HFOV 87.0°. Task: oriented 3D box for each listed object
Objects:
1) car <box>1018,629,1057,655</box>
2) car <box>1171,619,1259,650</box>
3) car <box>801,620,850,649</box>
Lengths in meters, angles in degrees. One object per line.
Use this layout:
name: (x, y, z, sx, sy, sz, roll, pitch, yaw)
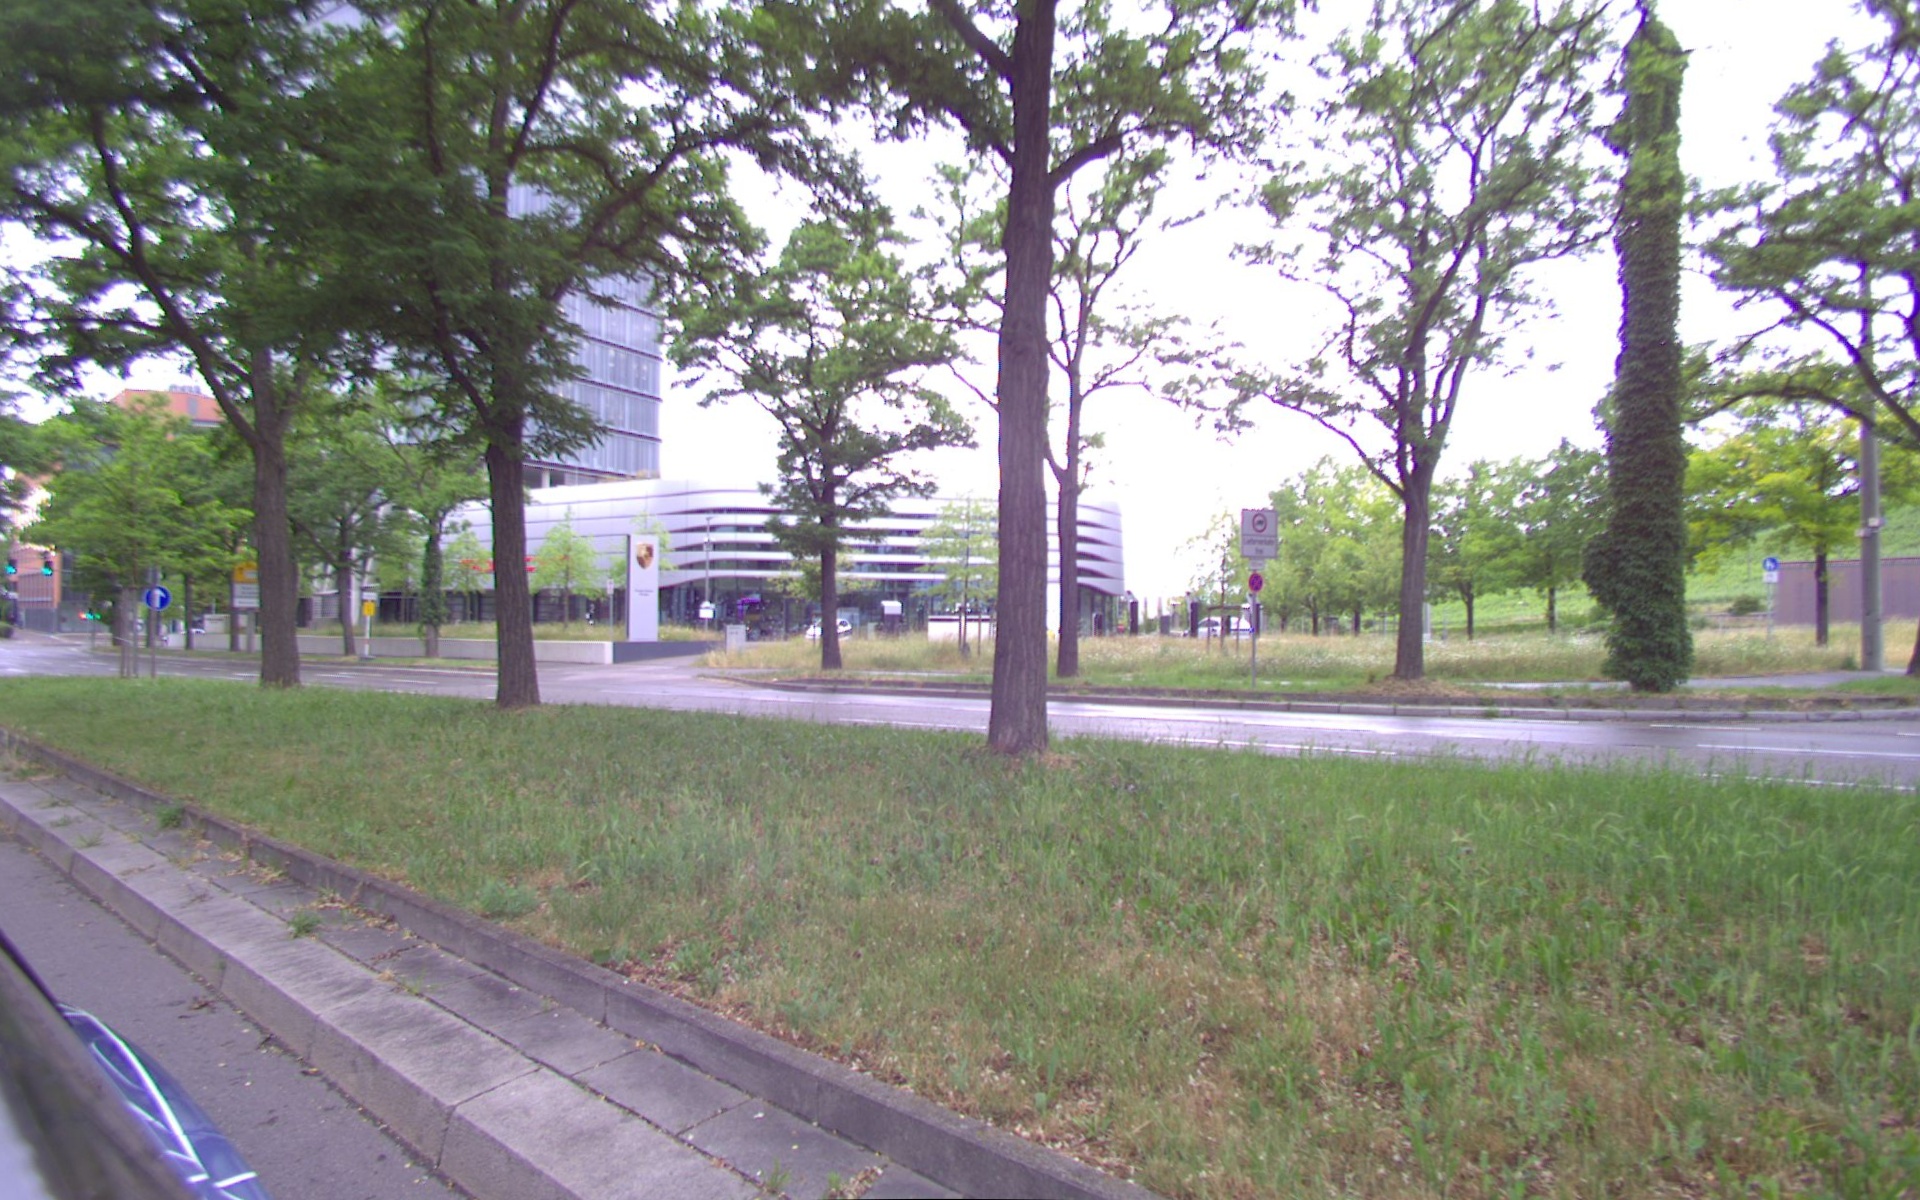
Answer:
car: (4.575, 2.434, 59.230, 1.605, 1.334, 3.981, -1, 1, 15)
car: (11.775, 1.558, 46.934, 1.592, 1.254, 4.012, -2, 1, -30)
car: (-7.439, 1.886, 56.455, 1.757, 1.423, 3.992, -1, 1, 7)
